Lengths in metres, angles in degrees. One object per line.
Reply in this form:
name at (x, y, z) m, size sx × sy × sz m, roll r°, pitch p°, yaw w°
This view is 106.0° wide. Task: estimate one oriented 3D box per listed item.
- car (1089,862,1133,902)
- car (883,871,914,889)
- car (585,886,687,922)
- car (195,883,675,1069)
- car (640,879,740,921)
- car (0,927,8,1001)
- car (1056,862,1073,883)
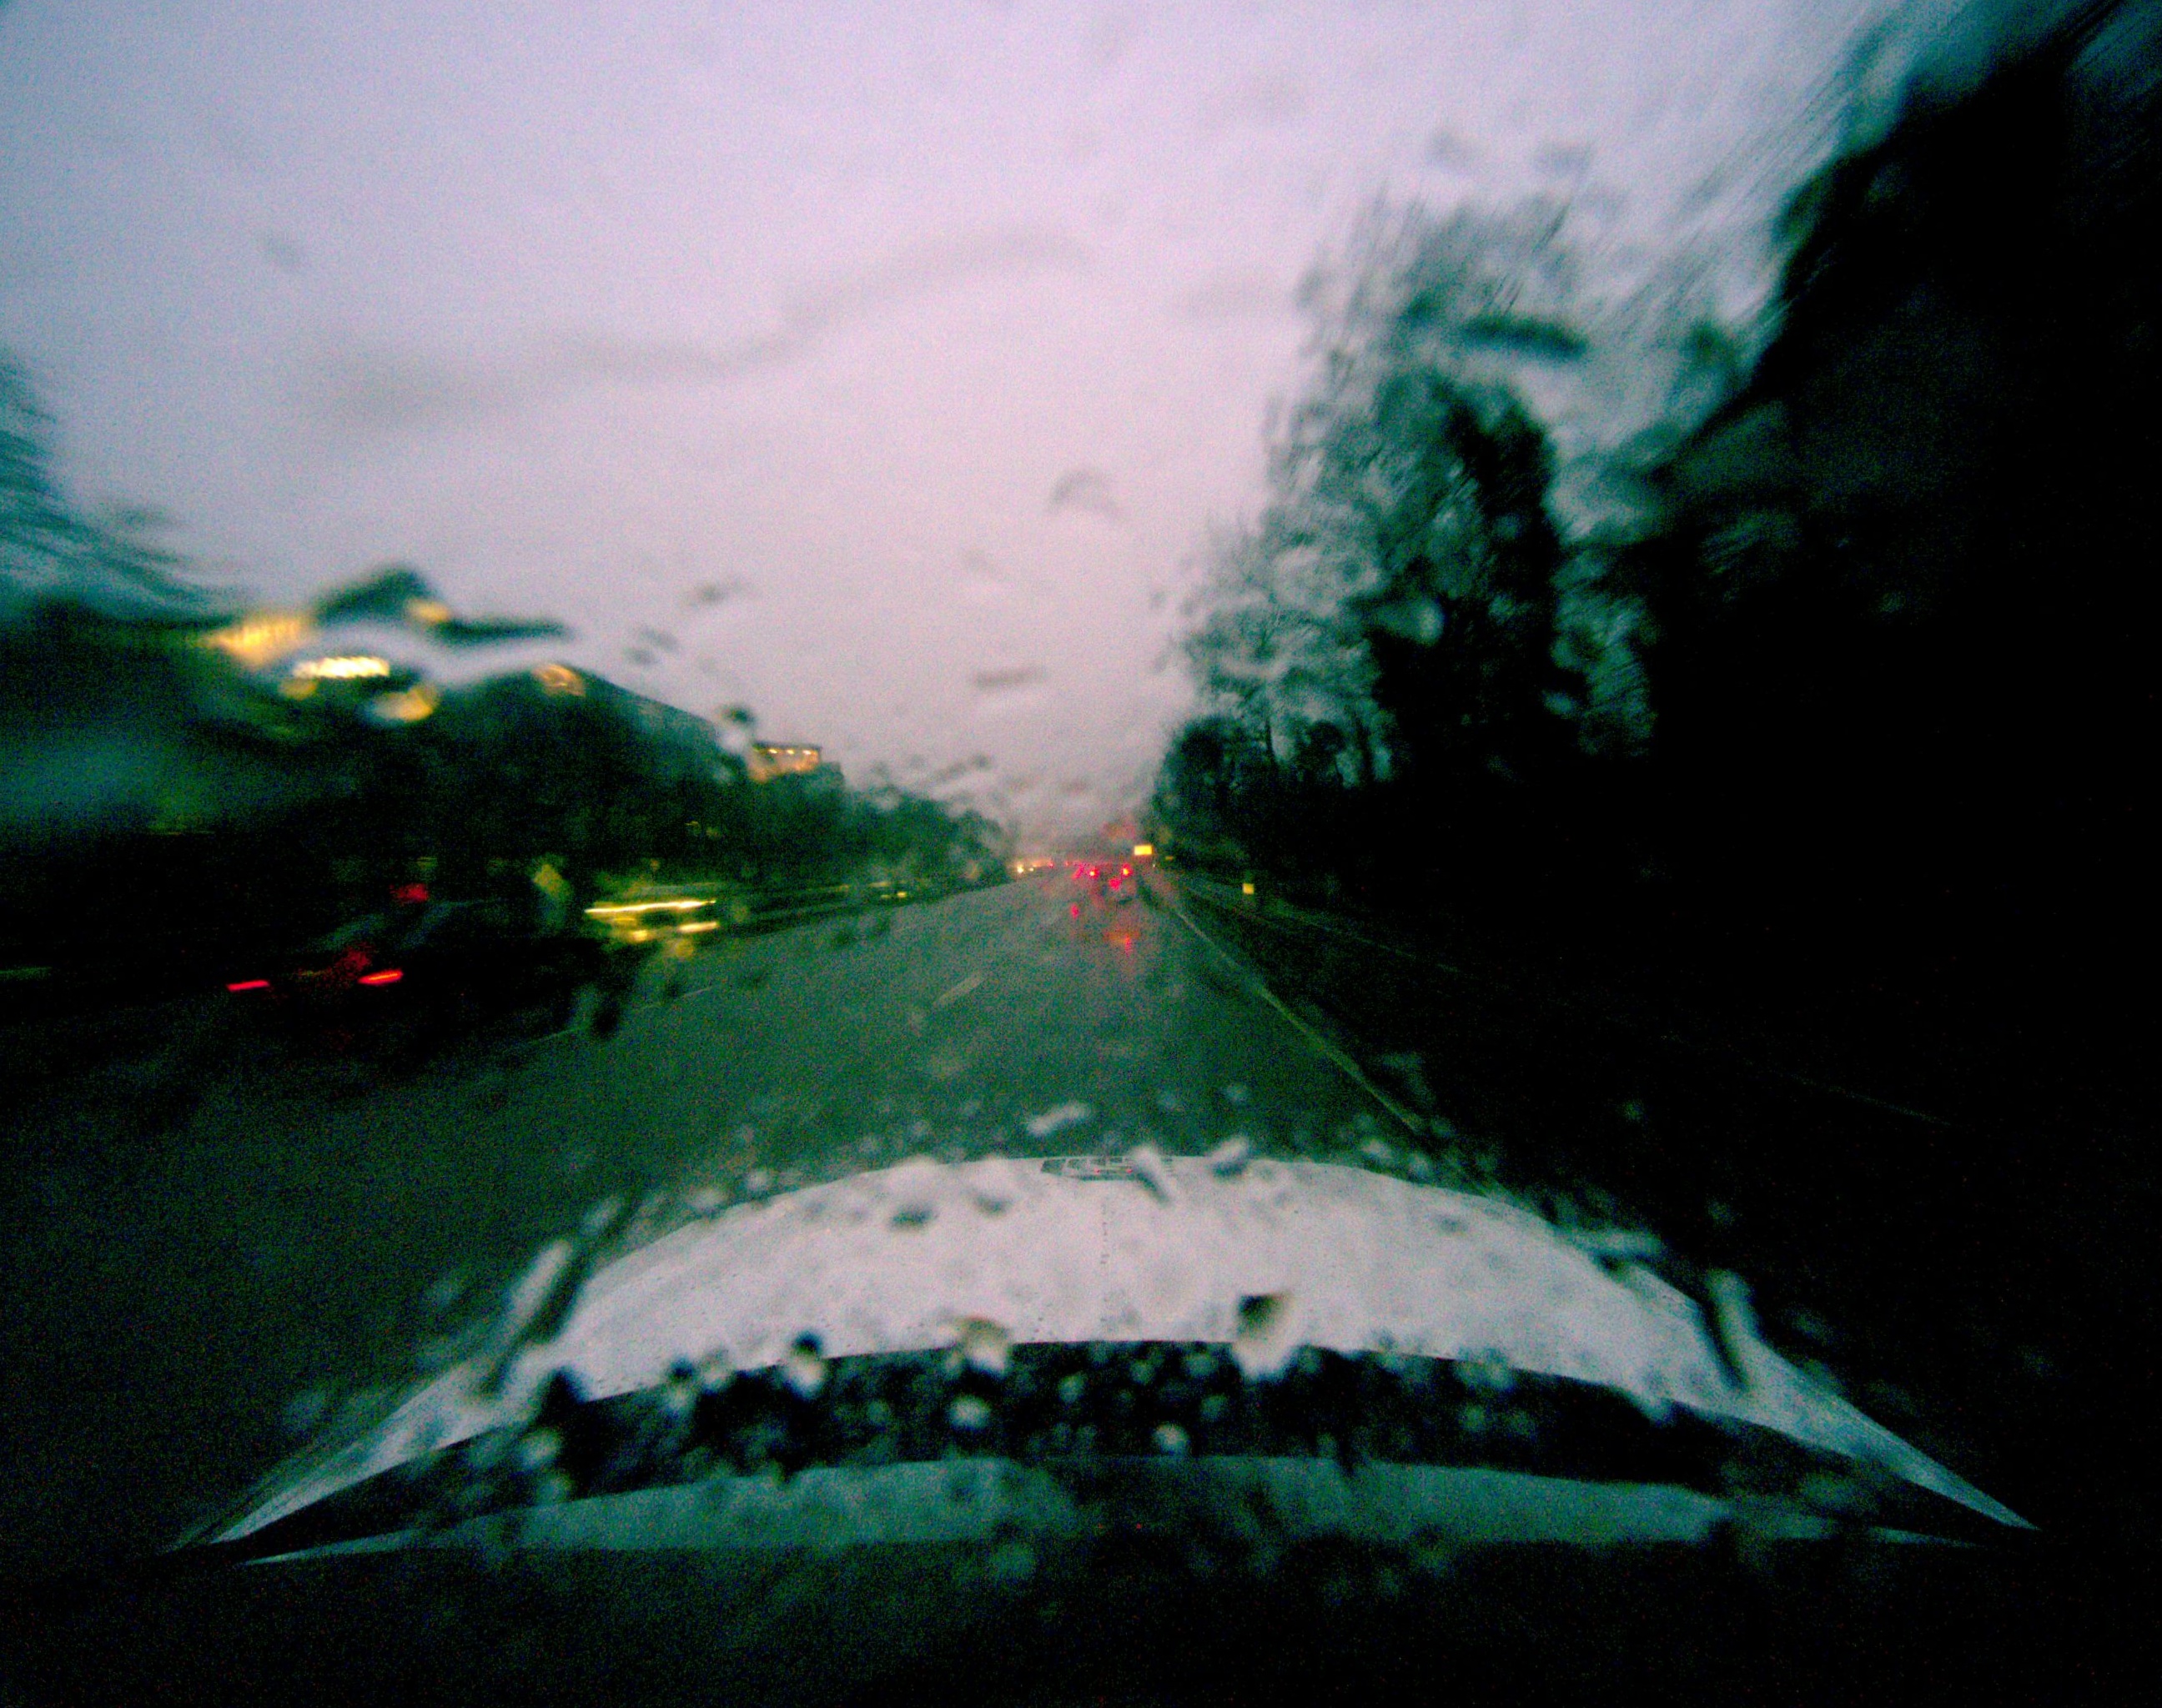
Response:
car at (1.065, 0.998, 30.421) m, size 1.522 × 1.416 × 3.478 m, roll 0°, pitch -1°, yaw 0°
car at (-16.433, 2.333, 73.638) m, size 1.539 × 1.513 × 4.544 m, roll -2°, pitch -1°, yaw 3°
car at (-18.740, 2.087, 34.562) m, size 1.538 × 1.271 × 4.690 m, roll 0°, pitch -1°, yaw 3°
car at (-7.206, 1.225, 9.929) m, size 1.768 × 1.534 × 4.708 m, roll -4°, pitch -2°, yaw 5°
car at (-15.099, 1.732, 31.711) m, size 1.539 × 1.443 × 4.365 m, roll 0°, pitch -1°, yaw 3°
car at (-20.288, 1.967, 12.616) m, size 1.539 × 1.322 × 4.261 m, roll 0°, pitch -1°, yaw 3°
car at (-2.014, 2.190, 96.743) m, size 1.995 × 2.453 × 3.997 m, roll 0°, pitch -1°, yaw -2°
